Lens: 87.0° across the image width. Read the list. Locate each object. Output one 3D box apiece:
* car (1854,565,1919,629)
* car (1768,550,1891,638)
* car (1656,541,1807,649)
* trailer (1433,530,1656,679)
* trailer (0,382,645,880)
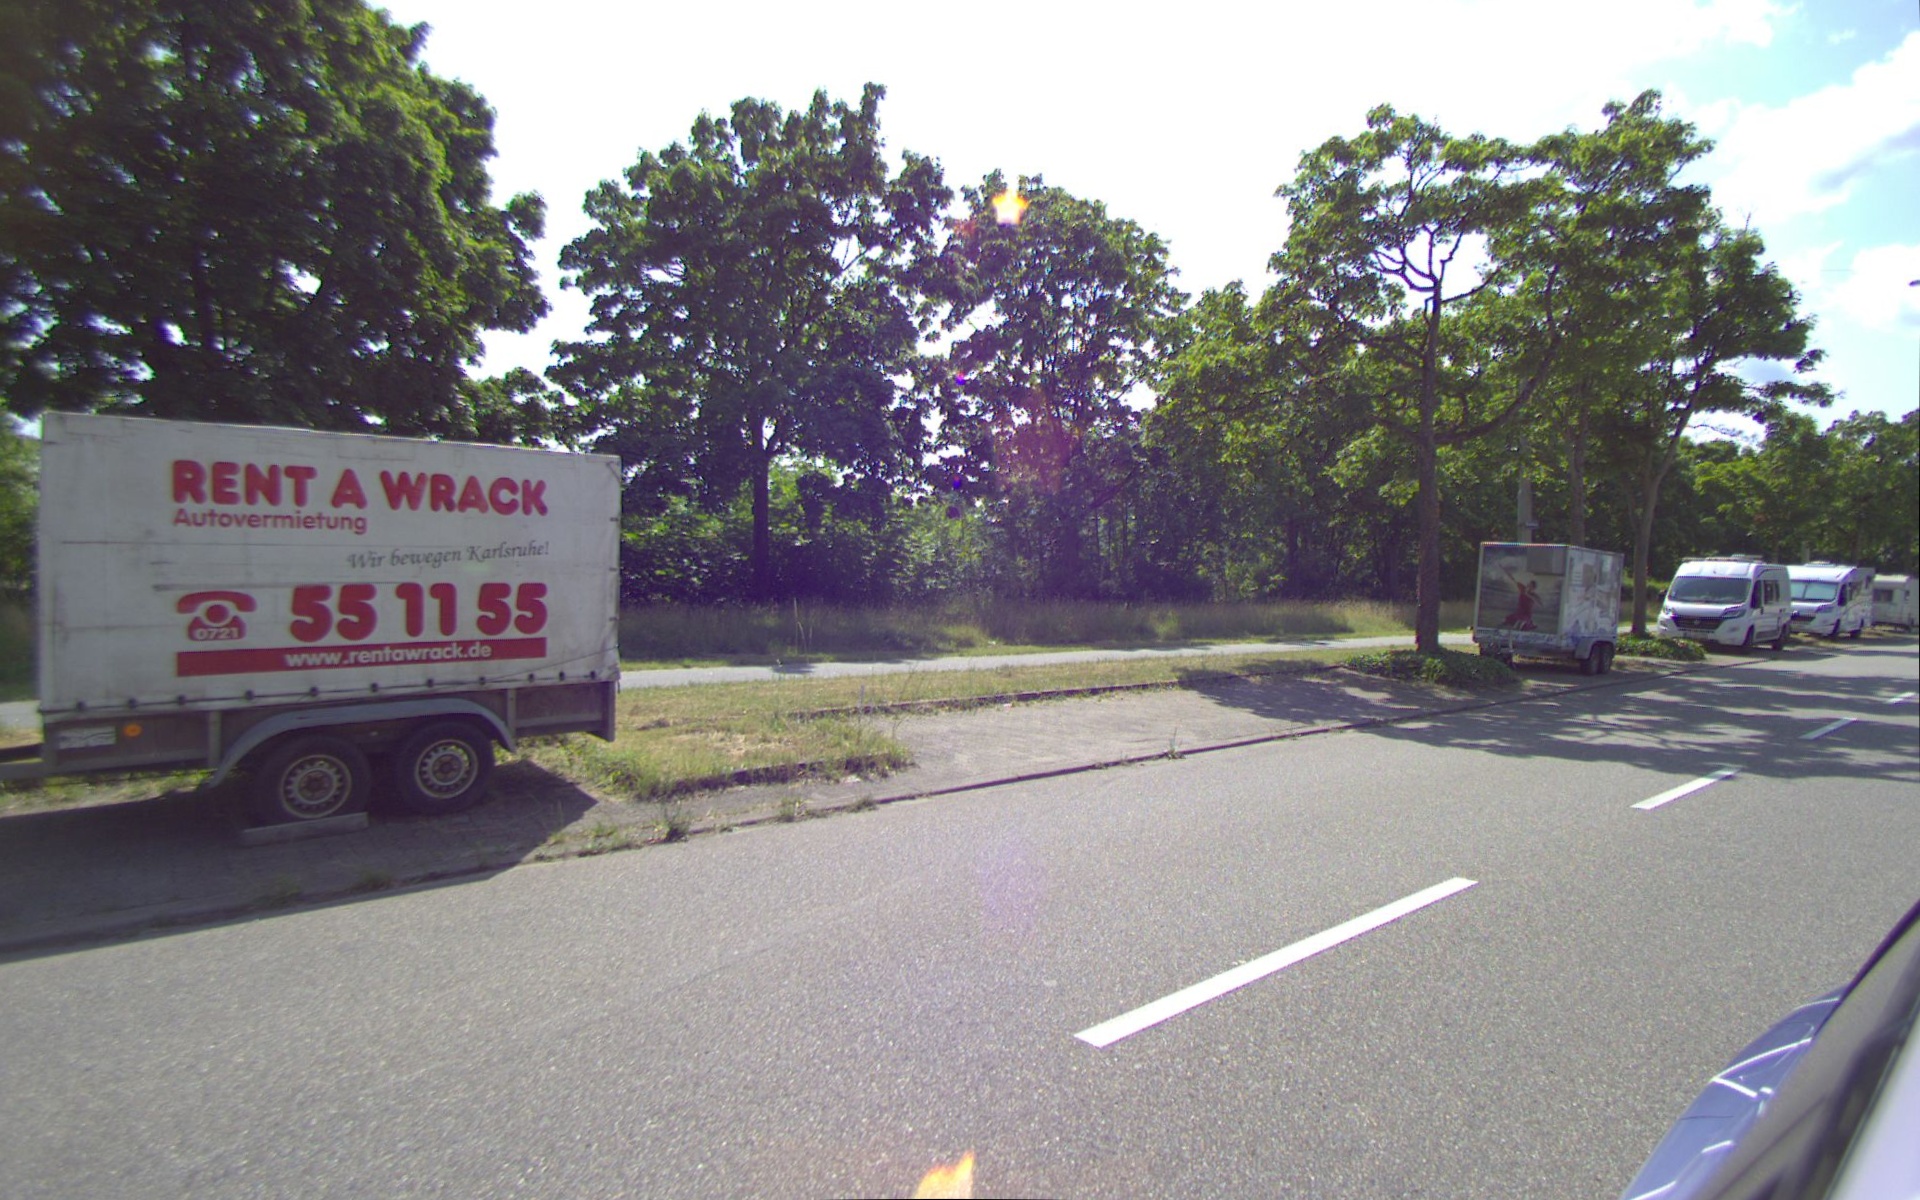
[{"bbox_3d":[42.190,-0.189,45.283,6.650,2.570,2.261,-1,4,-41],"label":"car"},{"bbox_3d":[31.662,-0.266,36.760,6.650,2.836,2.262,-1,5,-41],"label":"car"},{"bbox_3d":[21.735,-0.155,28.396,6.044,2.729,2.179,-1,0,-41],"label":"car"},{"bbox_3d":[11.204,0.010,19.277,4.697,2.392,2.000,-1,6,-40],"label":"trailer"},{"bbox_3d":[-4.519,0.093,6.192,4.526,2.380,1.956,0,3,-42],"label":"trailer"}]
